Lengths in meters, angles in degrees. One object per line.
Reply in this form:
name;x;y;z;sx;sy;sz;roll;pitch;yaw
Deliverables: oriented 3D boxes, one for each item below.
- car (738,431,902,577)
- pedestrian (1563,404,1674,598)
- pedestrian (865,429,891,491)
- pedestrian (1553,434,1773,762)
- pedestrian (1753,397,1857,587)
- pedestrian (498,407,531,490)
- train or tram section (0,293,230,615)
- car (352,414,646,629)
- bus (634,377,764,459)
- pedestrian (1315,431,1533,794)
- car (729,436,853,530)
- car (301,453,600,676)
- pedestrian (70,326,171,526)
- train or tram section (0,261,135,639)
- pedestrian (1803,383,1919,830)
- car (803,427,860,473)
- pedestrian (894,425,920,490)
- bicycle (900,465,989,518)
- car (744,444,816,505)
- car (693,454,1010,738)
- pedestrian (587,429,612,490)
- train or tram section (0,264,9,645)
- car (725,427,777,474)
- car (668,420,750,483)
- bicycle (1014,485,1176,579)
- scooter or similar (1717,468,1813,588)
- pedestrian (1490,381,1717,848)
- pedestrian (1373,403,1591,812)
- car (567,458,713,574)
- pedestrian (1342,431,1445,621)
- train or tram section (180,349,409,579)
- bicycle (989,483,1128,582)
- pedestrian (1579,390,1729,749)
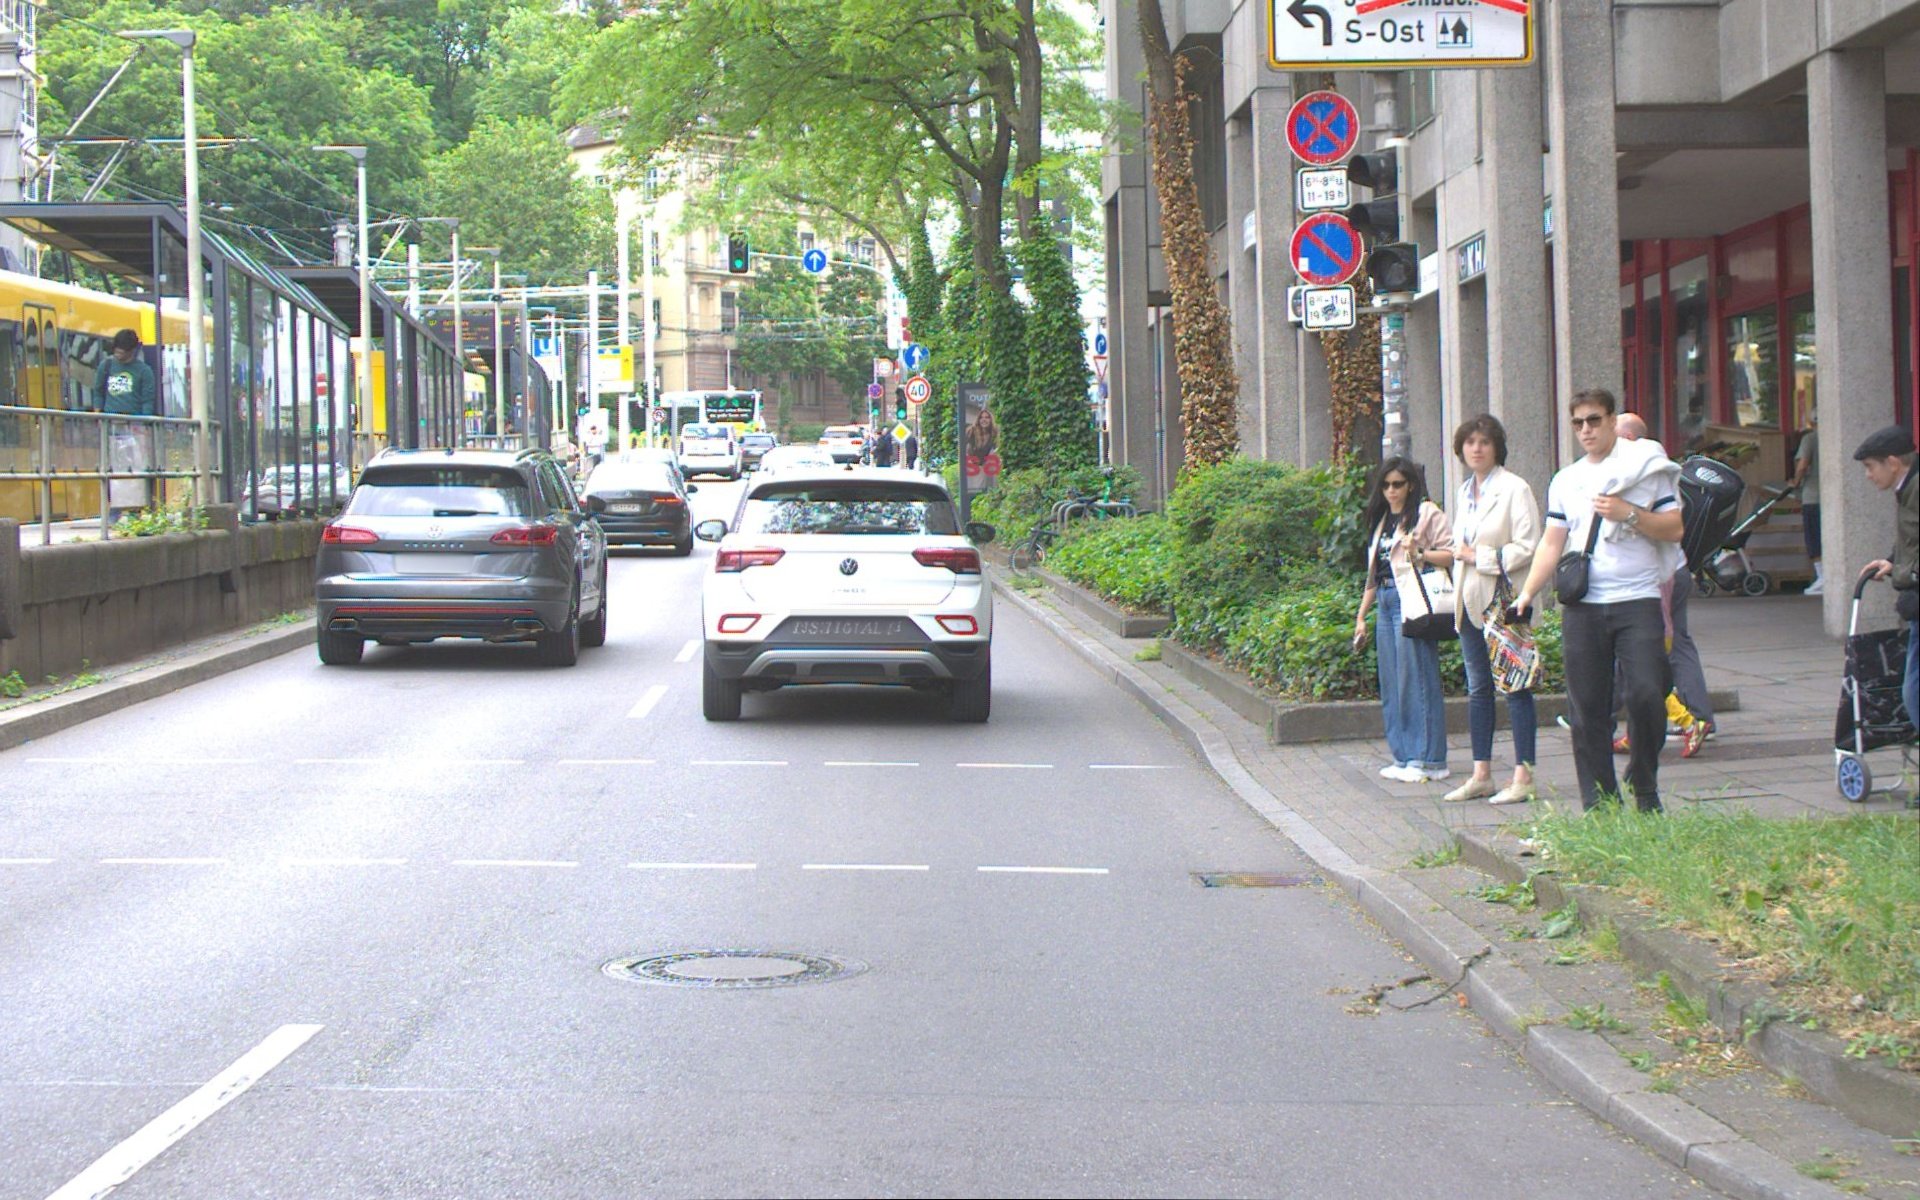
car;-1.733;-1.150;42.090;1.884;1.678;4.162;1;1;-3
pedestrian;6.267;-0.944;32.722;0.831;1.797;0.723;-2;2;-2
pedestrian;-2.706;-4.620;113.732;0.762;2.007;0.838;1;1;3
pedestrian;3.420;-0.015;16.771;0.835;1.557;0.764;0;1;-7
pedestrian;7.828;-0.999;31.864;0.762;1.717;0.677;-2;2;0
pedestrian;-10.972;-3.719;84.653;0.762;2.007;0.838;0;1;-9
train or tram section;-10.560;-1.702;40.600;2.835;3.508;5.753;1;2;-2
car;-4.609;-0.787;35.191;2.364;2.007;5.148;1;1;-1
bus;-11.463;-7.820;149.487;3.371;3.054;13.329;0;1;-14
pedestrian;2.261;0.047;16.833;0.835;1.698;0.764;-3;2;-6
car;-3.220;-2.173;64.839;1.884;1.678;4.162;0;1;-9
car;-3.961;-0.347;27.316;1.993;1.630;4.001;0;3;-3
pedestrian;-7.371;-1.522;30.204;0.717;1.725;0.671;1;1;-1
train or tram section;-10.376;-1.505;34.823;2.835;3.508;5.753;1;2;-2
pedestrian;4.057;-0.001;14.436;0.721;1.796;0.835;-3;4;-6
car;-5.099;-5.898;135.866;1.884;1.678;4.162;0;1;-7
pedestrian;-1.652;-4.467;107.623;0.762;2.007;0.838;1;1;3
bicycle;-0.335;-2.358;74.976;1.881;1.133;0.808;1;1;4
car;-5.225;-3.637;100.423;1.885;1.678;4.161;1;1;0
car;-0.763;-0.107;22.305;1.837;1.578;4.158;1;3;-3
pedestrian;-11.994;-4.687;114.445;0.762;2.007;0.838;1;1;-2
train or tram section;-10.168;-1.265;29.074;2.835;3.508;5.753;1;2;-2
car;-8.087;-5.769;133.120;1.884;1.678;4.162;1;1;-2
car;-8.687;-5.136;119.310;2.365;2.007;5.148;1;1;1
bicycle;1.679;-0.847;42.805;1.915;1.073;0.613;-3;2;-5
scooter or similar;7.696;-0.687;32.868;0.856;1.106;0.764;-2;1;14
pedestrian;2.643;0.050;14.176;0.733;1.868;0.733;0;1;-7
pedestrian;2.376;0.024;15.702;0.693;1.771;0.690;-5;2;-6
car;-4.957;-1.346;53.689;1.912;1.683;4.001;1;3;-1
pedestrian;4.193;-0.730;33.306;0.762;1.776;0.848;-2;4;-7
train or tram section;-11.215;-2.291;58.514;2.813;3.653;6.752;1;2;-2
bicycle;1.188;-0.819;41.567;1.620;1.124;0.613;-3;2;1
pedestrian;3.526;-0.158;17.505;0.518;1.783;0.764;0;1;-7
